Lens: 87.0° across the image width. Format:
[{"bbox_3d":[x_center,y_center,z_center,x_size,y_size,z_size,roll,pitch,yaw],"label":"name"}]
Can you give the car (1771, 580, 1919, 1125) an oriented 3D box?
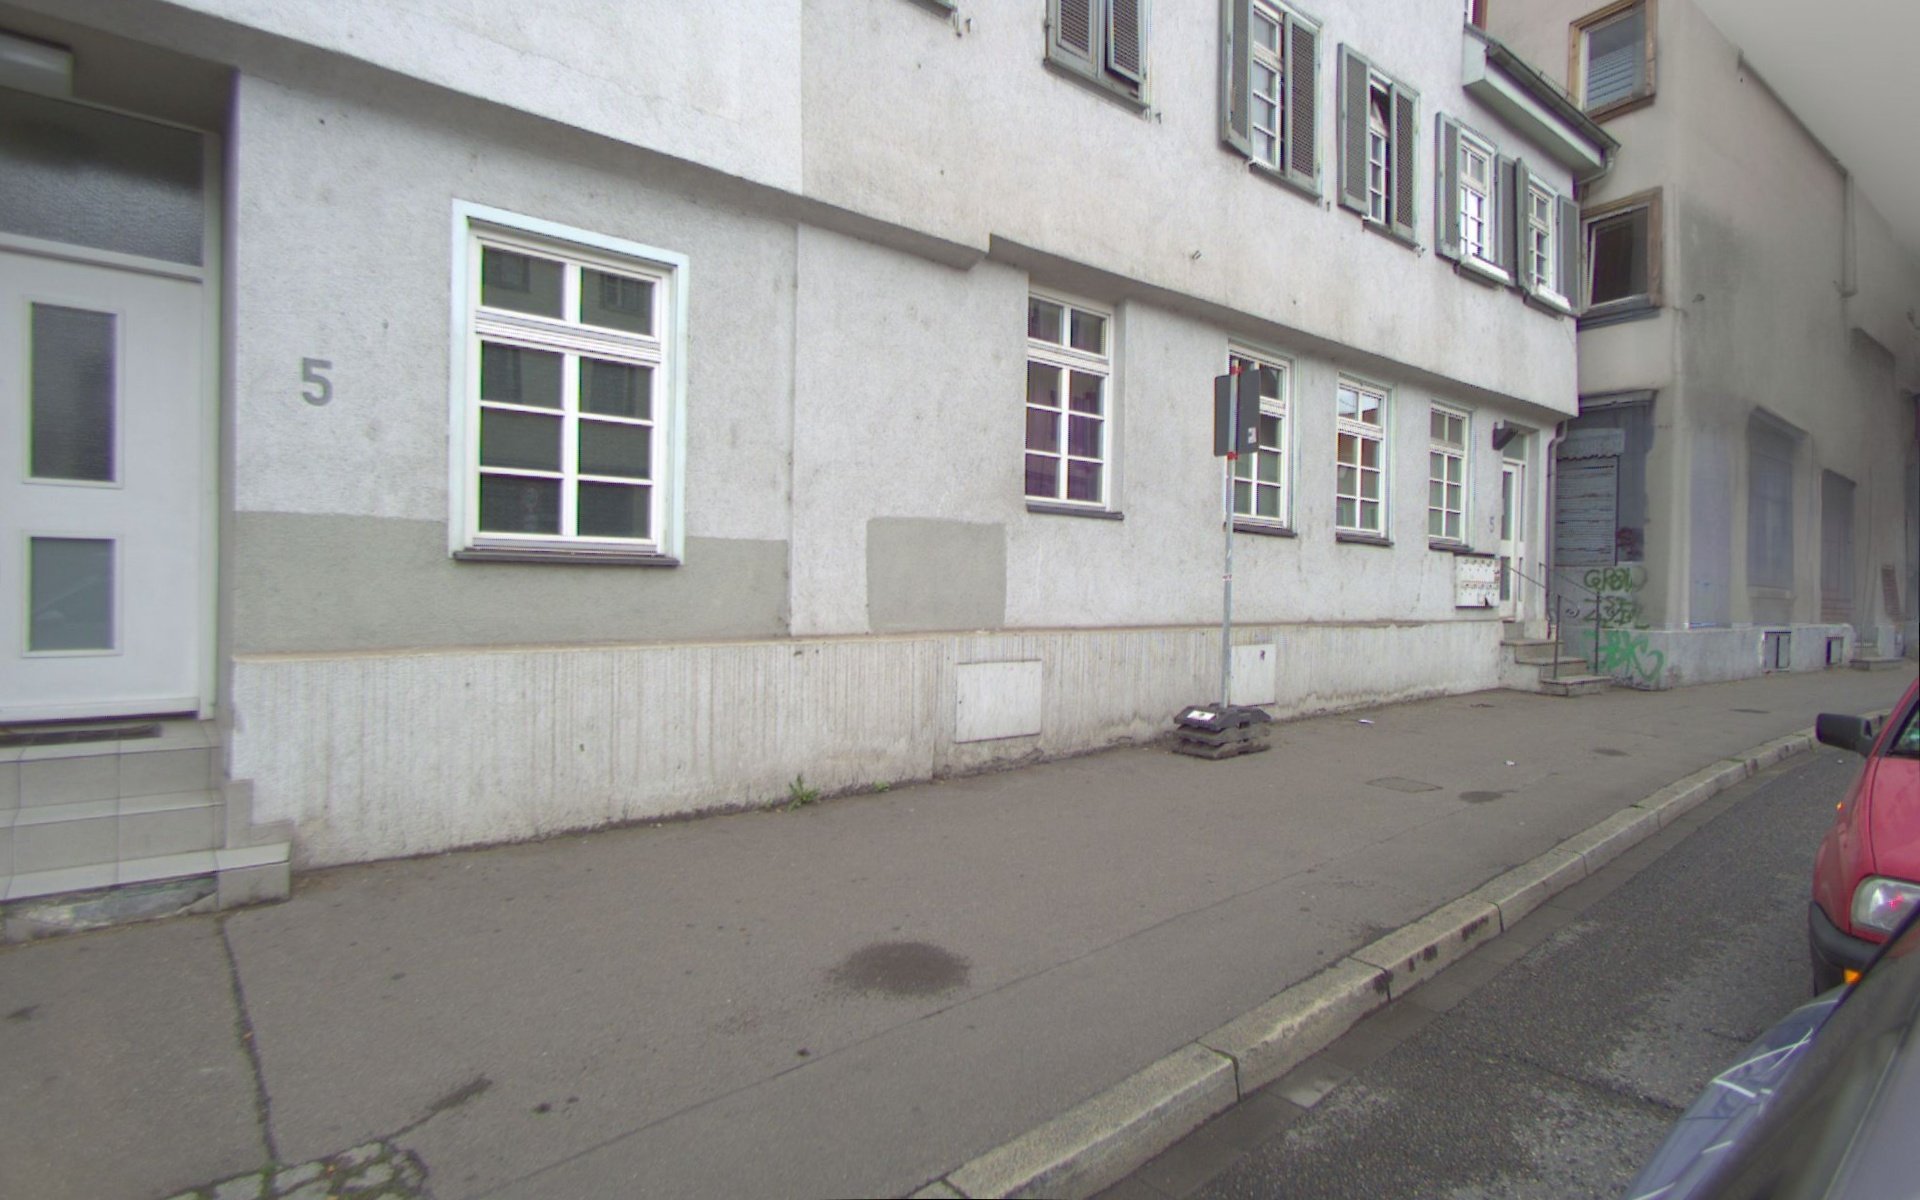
[{"bbox_3d":[4.401,0.655,3.526,3.930,1.443,1.791,-1,1,-41],"label":"car"}]
